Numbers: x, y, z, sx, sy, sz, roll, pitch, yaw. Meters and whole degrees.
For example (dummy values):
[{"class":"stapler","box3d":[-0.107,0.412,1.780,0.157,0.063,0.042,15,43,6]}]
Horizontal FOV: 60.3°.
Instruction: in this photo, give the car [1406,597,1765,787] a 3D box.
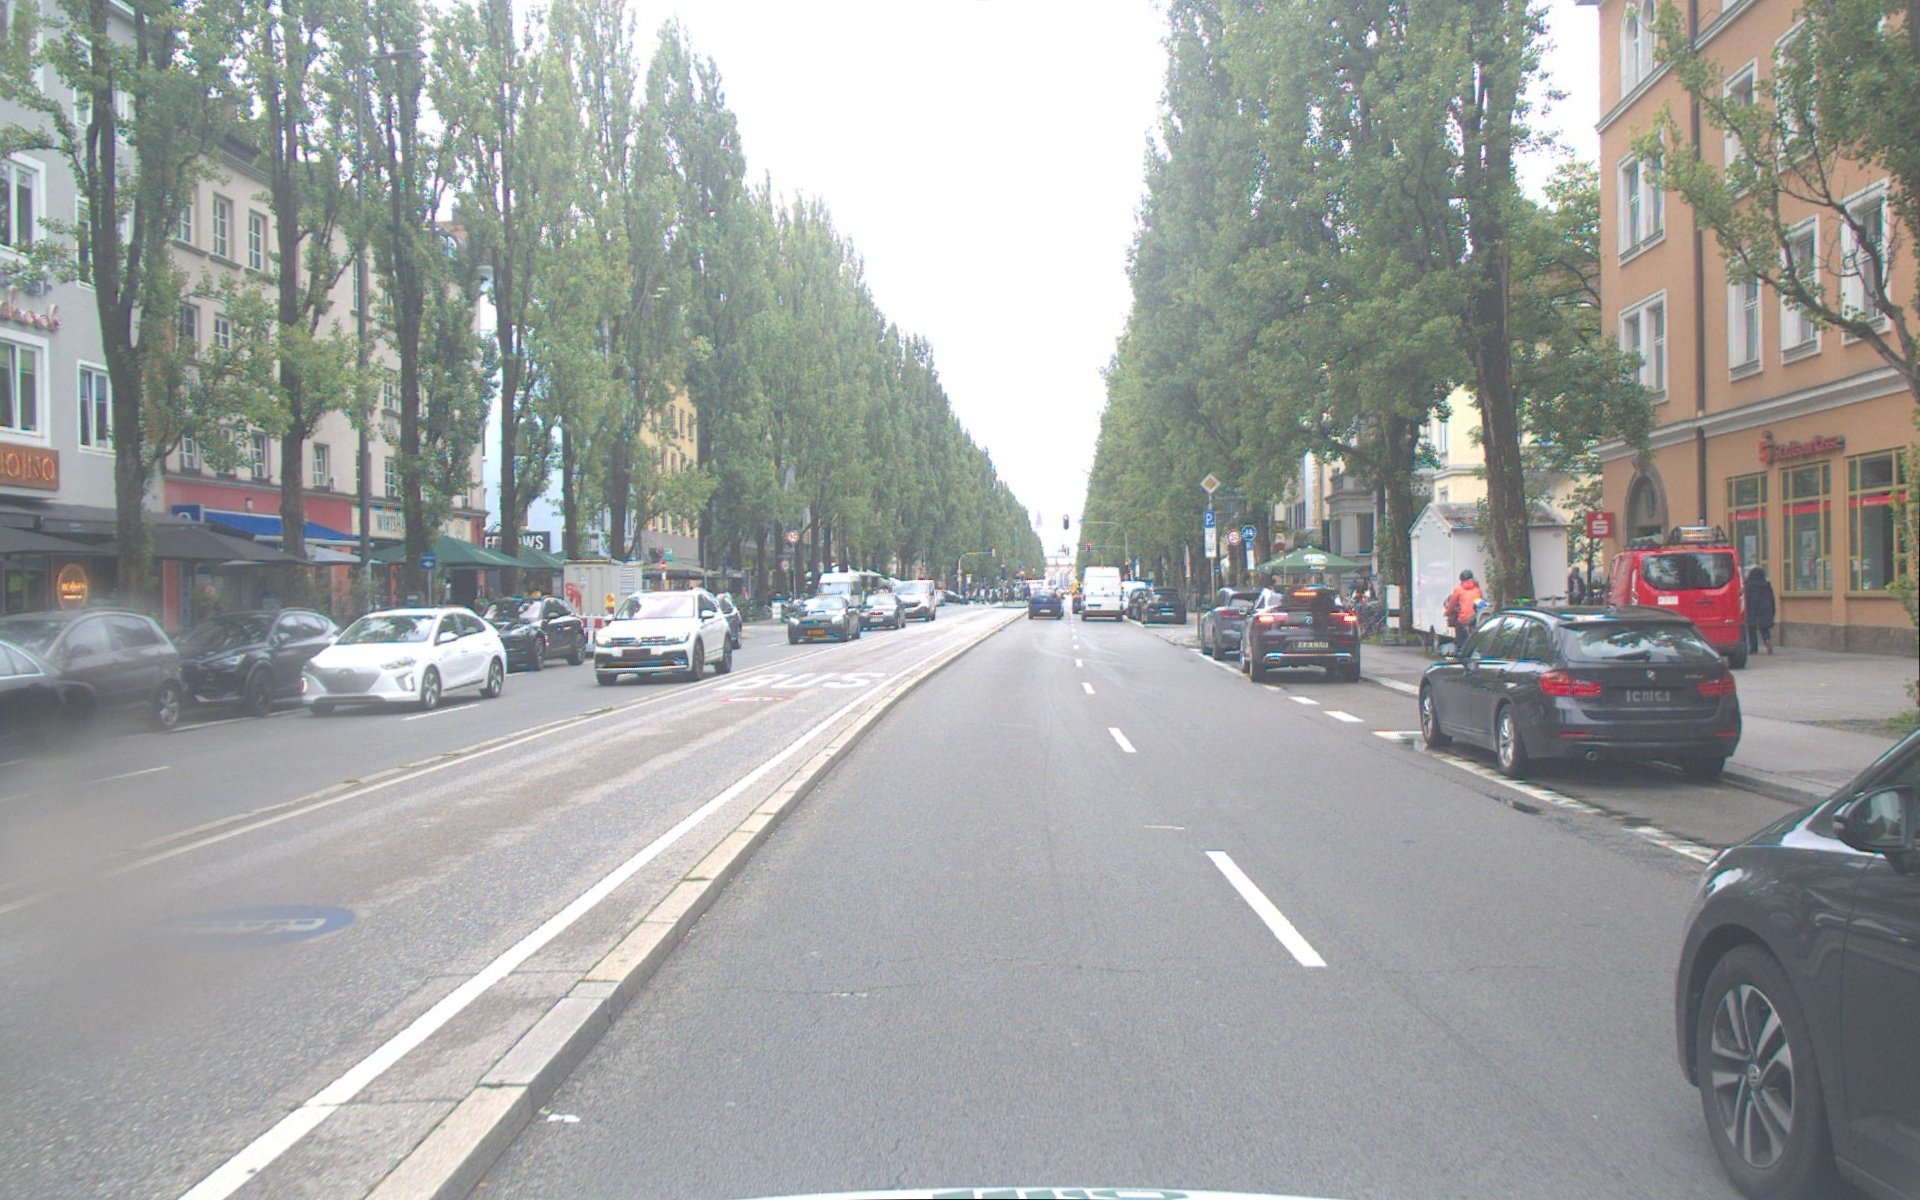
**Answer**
[{"class":"car","box3d":[5.526,0.723,15.248,1.697,1.418,4.434,-2,0,1]}]

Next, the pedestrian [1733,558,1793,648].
[{"class":"pedestrian","box3d":[15.063,0.050,31.055,0.714,1.654,0.805,-1,0,2]}]

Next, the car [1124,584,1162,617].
[{"class":"car","box3d":[9.507,0.037,86.248,1.767,1.624,4.001,0,0,3]}]

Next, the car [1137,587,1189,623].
[{"class":"car","box3d":[8.721,0.193,71.351,1.903,1.493,4.001,-1,0,2]}]

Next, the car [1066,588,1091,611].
[{"class":"car","box3d":[7.253,-0.031,101.415,1.472,1.336,3.284,-1,0,3]}]

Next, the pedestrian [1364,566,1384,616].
[{"class":"pedestrian","box3d":[15.635,-0.334,62.471,0.686,1.905,0.766,0,-1,12]}]

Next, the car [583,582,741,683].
[{"class":"car","box3d":[-5.425,0.540,30.682,1.899,1.671,4.465,-2,0,2]}]

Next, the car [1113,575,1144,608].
[{"class":"car","box3d":[10.536,-0.508,103.742,1.767,2.027,4.001,0,0,3]}]

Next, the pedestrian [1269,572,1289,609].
[{"class":"pedestrian","box3d":[15.646,-0.468,81.145,0.796,1.786,0.934,-2,0,5]}]

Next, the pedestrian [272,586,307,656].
[{"class":"pedestrian","box3d":[-18.527,0.578,45.725,0.625,1.894,0.648,-2,0,3]}]

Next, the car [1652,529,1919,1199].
[{"class":"car","box3d":[2.881,0.675,2.691,1.725,1.642,4.183,0,0,-1]}]

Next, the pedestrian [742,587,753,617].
[{"class":"pedestrian","box3d":[-13.271,0.134,103.252,0.570,1.889,0.675,-1,0,3]}]

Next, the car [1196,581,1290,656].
[{"class":"car","box3d":[6.457,0.384,38.104,1.590,1.592,4.373,-1,1,3]}]

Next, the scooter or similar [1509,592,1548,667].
[{"class":"scooter or similar","box3d":[10.110,0.508,29.450,0.514,1.254,1.478,-3,0,16]}]

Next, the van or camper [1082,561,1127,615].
[{"class":"van or camper","box3d":[6.976,-0.539,80.125,1.992,2.519,4.001,-1,-1,3]}]

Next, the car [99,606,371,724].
[{"class":"car","box3d":[-10.823,0.909,25.086,1.952,1.508,4.322,-2,1,4]}]

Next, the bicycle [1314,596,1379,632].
[{"class":"bicycle","box3d":[11.641,0.410,49.791,2.034,1.041,0.683,-1,0,-33]}]

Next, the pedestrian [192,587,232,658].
[{"class":"pedestrian","box3d":[-18.519,0.554,40.964,0.625,1.729,0.648,-2,0,3]}]

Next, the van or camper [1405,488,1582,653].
[{"class":"van or camper","box3d":[11.078,-0.600,34.772,2.408,3.166,4.718,-2,0,4]}]

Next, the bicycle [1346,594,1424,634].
[{"class":"bicycle","box3d":[11.721,0.383,45.664,2.009,1.041,0.692,-1,0,11]}]

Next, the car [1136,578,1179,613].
[{"class":"car","box3d":[9.171,-0.206,77.078,1.747,1.551,3.942,-1,0,3]}]

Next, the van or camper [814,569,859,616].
[{"class":"van or camper","box3d":[-6.756,-0.433,90.870,1.952,2.501,4.253,-1,0,3]}]

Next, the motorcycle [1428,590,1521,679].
[{"class":"motorcycle","box3d":[8.546,0.546,27.571,0.809,1.394,2.252,-2,0,0]}]

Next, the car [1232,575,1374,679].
[{"class":"car","box3d":[6.002,0.420,29.419,1.841,1.670,4.585,-1,0,4]}]

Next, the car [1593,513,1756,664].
[{"class":"car","box3d":[12.382,-0.210,28.947,1.860,2.368,4.828,-2,0,15]}]

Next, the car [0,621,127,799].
[{"class":"car","box3d":[-9.080,0.981,13.600,1.899,1.459,4.541,-2,0,4]}]

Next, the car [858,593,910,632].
[{"class":"car","box3d":[-2.975,0.464,65.004,1.676,1.438,3.724,-1,0,3]}]

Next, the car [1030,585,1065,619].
[{"class":"car","box3d":[4.433,0.099,83.590,1.722,1.648,3.748,0,0,3]}]

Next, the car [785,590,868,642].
[{"class":"car","box3d":[-4.130,0.457,51.857,1.952,1.457,4.774,-2,1,3]}]

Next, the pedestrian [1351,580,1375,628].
[{"class":"pedestrian","box3d":[14.212,0.130,58.371,0.656,1.679,0.625,-1,0,30]}]

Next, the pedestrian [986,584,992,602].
[{"class":"pedestrian","box3d":[2.889,-0.729,165.451,0.541,1.746,0.493,-2,0,4]}]

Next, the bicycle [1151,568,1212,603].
[{"class":"bicycle","box3d":[13.097,-0.857,97.933,3.473,2.049,1.298,0,-1,12]}]

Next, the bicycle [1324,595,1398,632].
[{"class":"bicycle","box3d":[11.803,0.404,48.667,2.020,1.041,0.688,-1,0,-16]}]

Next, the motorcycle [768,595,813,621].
[{"class":"motorcycle","box3d":[-7.939,0.350,77.676,1.211,1.160,3.720,-1,0,8]}]

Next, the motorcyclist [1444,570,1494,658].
[{"class":"motorcyclist","box3d":[8.490,0.220,27.583,0.552,1.431,0.766,-2,0,0]}]

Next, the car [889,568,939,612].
[{"class":"car","box3d":[-2.209,-0.465,80.311,1.952,1.967,4.920,-3,0,3]}]

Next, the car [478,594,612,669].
[{"class":"car","box3d":[-9.920,0.708,39.851,1.809,1.592,4.335,-1,1,5]}]

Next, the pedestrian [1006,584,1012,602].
[{"class":"pedestrian","box3d":[4.895,-0.712,165.217,0.541,1.746,0.493,-2,0,4]}]

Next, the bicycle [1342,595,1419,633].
[{"class":"bicycle","box3d":[12.063,0.398,47.452,2.014,1.041,0.690,-1,0,-7]}]

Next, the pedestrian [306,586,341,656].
[{"class":"pedestrian","box3d":[-17.639,0.578,45.849,0.625,1.894,0.648,-2,0,3]}]

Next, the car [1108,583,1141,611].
[{"class":"car","box3d":[9.702,-0.169,97.736,1.725,1.624,4.001,0,0,3]}]

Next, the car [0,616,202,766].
[{"class":"car","box3d":[-11.082,1.036,19.970,1.767,1.545,4.002,-2,0,4]}]

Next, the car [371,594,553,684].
[{"class":"car","box3d":[-10.211,0.745,34.362,1.952,1.624,4.894,-2,1,4]}]

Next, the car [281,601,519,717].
[{"class":"car","box3d":[-8.370,0.820,25.176,1.899,1.519,4.458,-2,0,2]}]

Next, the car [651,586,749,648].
[{"class":"car","box3d":[-7.174,0.464,45.976,1.810,1.592,4.213,-1,-1,3]}]

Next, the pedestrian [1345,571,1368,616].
[{"class":"pedestrian","box3d":[16.976,-0.267,70.834,0.745,1.886,0.740,-1,0,0]}]
